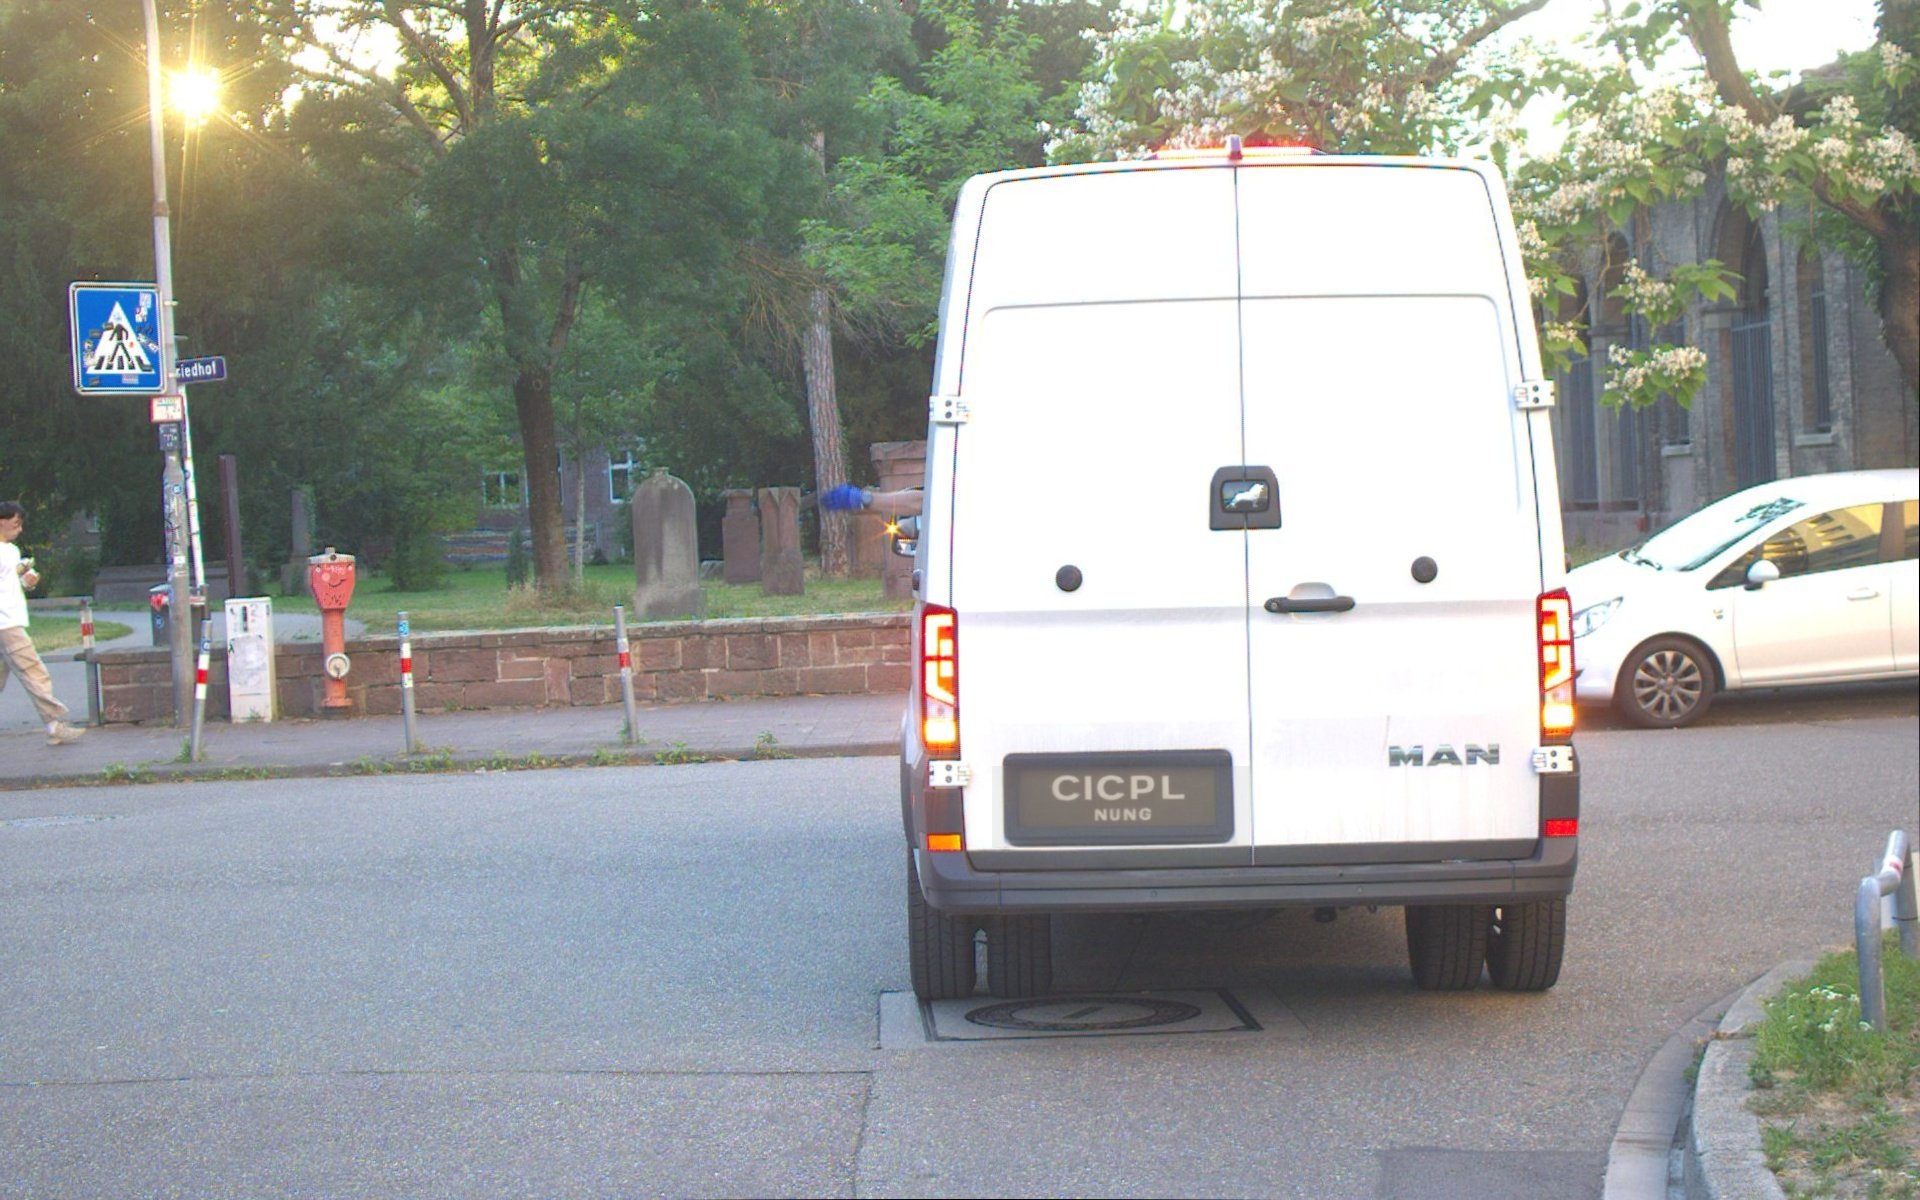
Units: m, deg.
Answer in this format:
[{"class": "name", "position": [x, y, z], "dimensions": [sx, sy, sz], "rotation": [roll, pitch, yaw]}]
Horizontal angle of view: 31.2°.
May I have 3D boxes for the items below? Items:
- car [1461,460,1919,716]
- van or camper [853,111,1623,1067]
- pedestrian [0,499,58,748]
[{"class": "car", "position": [5.478, -0.125, 23.012], "dimensions": [3.854, 1.568, 1.958], "rotation": [-2, 2, -3]}, {"class": "van or camper", "position": [0.674, -0.076, 12.687], "dimensions": [1.993, 2.609, 6.404], "rotation": [-1, 1, -3]}, {"class": "pedestrian", "position": [-7.017, 0.165, 25.244], "dimensions": [0.593, 1.803, 0.621], "rotation": [-1, 1, 0]}]
